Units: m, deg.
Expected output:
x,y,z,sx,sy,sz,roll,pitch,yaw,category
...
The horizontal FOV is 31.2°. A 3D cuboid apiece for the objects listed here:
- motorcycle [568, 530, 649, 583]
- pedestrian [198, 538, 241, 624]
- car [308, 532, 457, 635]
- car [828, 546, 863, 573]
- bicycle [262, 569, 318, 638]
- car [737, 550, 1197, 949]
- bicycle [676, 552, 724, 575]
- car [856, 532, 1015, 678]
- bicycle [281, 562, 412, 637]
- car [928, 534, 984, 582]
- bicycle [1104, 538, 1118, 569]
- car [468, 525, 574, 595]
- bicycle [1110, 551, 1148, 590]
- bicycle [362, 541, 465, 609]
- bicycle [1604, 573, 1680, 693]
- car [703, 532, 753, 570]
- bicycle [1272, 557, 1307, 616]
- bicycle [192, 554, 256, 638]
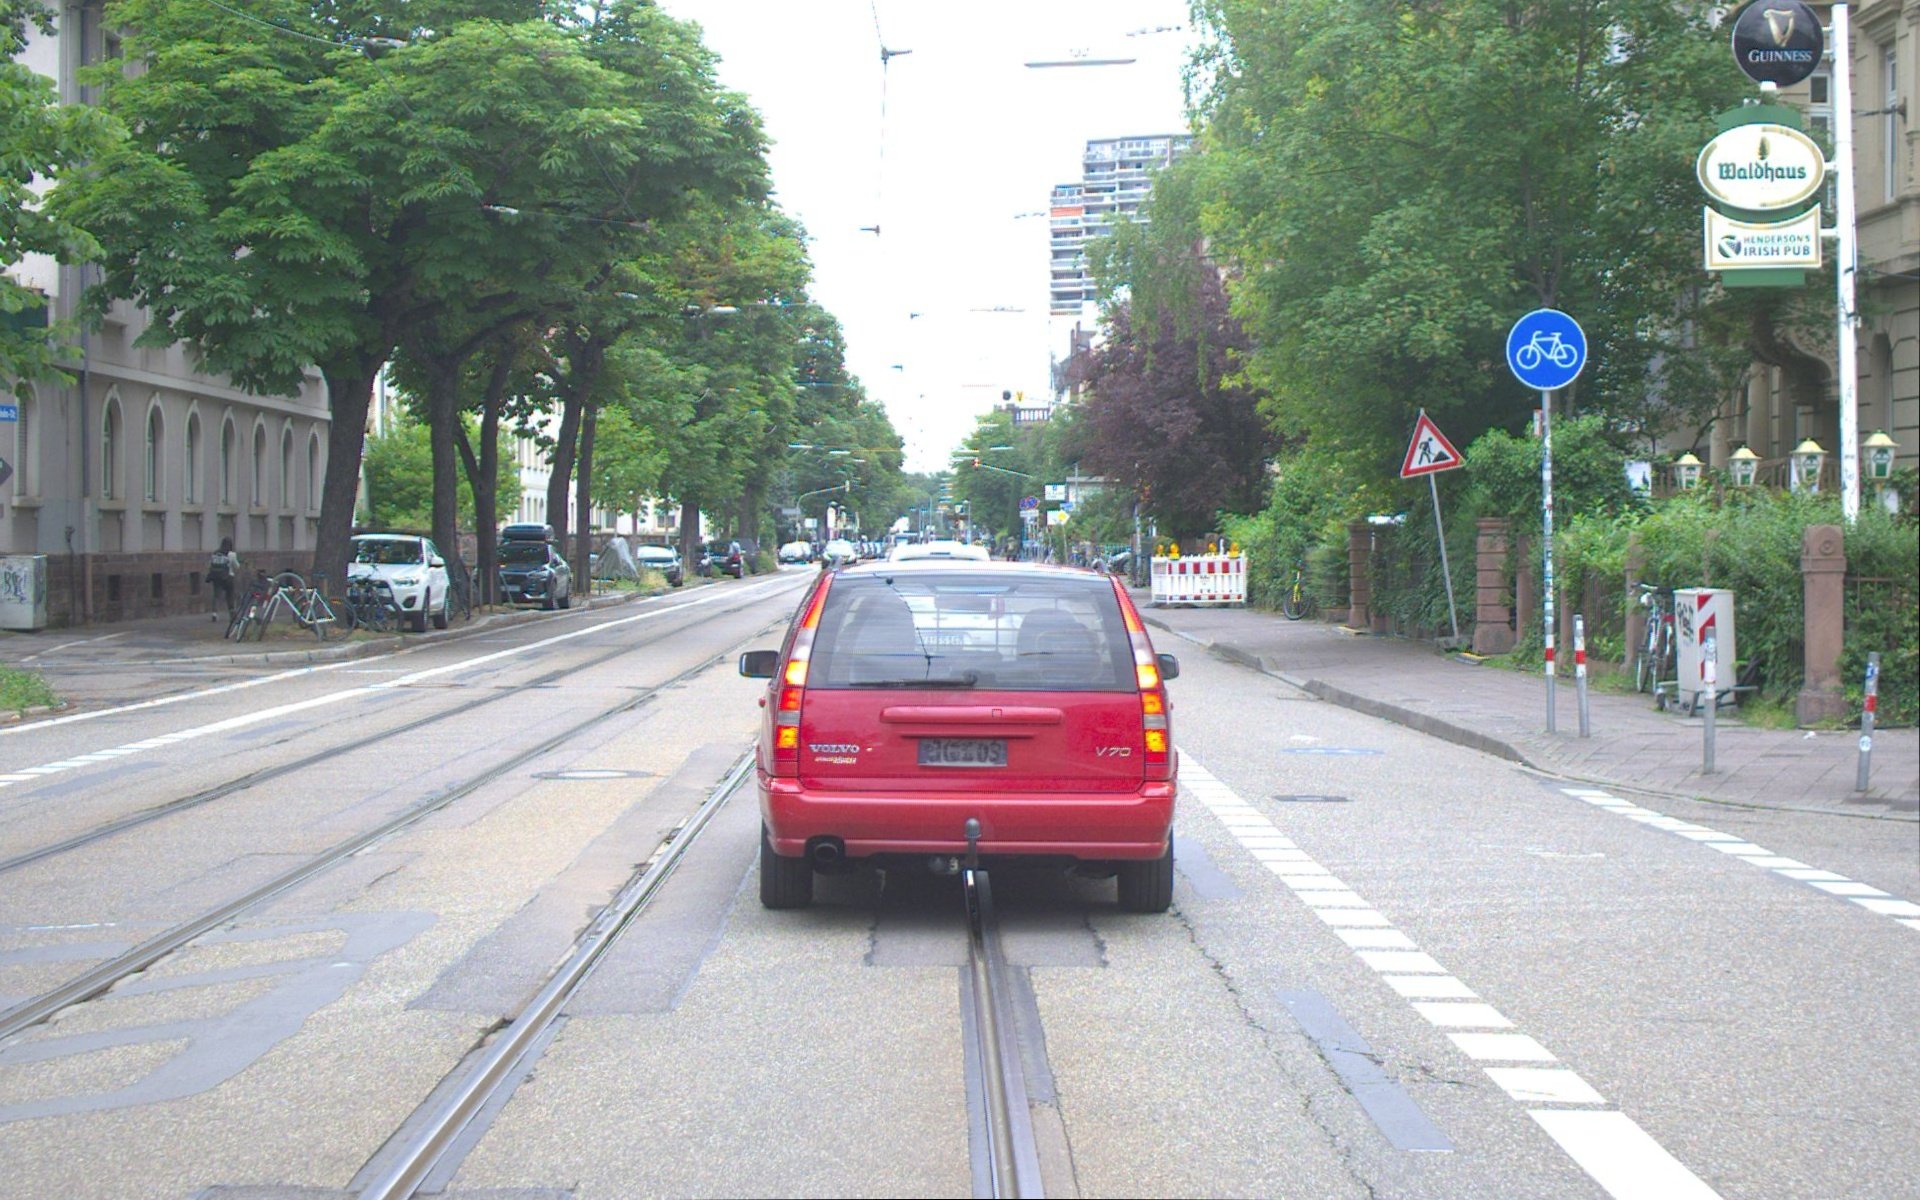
x,y,z,sx,sy,sz,roll,pitch,yaw,category
-10.141,-1.254,99.164,2.269,1.506,0.925,1,-1,35,motorcycle
-12.703,-0.326,58.994,0.564,1.462,0.723,0,1,0,pedestrian
-9.749,-0.307,58.331,1.897,1.650,4.226,1,1,-1,car
-5.920,-2.104,178.366,1.755,1.375,4.027,0,1,-1,car
-9.568,0.045,49.124,0.483,0.955,1.398,0,1,2,bicycle
0.010,0.533,14.729,1.689,1.436,3.743,1,1,0,car
-9.802,-1.381,129.679,1.749,0.841,0.684,0,1,1,bicycle
-0.244,0.023,40.210,1.719,1.619,3.941,0,1,2,car
-9.701,-0.010,54.402,1.922,1.117,0.624,2,1,0,bicycle
-0.151,-1.451,117.217,1.741,1.600,4.001,0,1,-2,car
6.815,-2.118,155.226,0.551,1.395,1.734,0,1,0,bicycle
-9.811,-0.910,77.104,1.777,1.505,4.238,1,1,0,car
6.598,-1.166,134.151,0.918,1.502,2.379,1,1,17,bicycle
-10.135,-0.468,63.725,1.744,1.188,0.652,2,1,14,bicycle
6.210,0.285,31.346,0.301,1.038,1.849,0,1,-1,bicycle
-9.746,-2.058,144.409,1.851,1.558,3.943,0,1,0,car
5.958,-0.247,62.221,0.479,1.041,1.531,0,1,0,bicycle
-10.610,-0.068,49.506,0.674,1.132,1.937,-1,2,-19,bicycle
